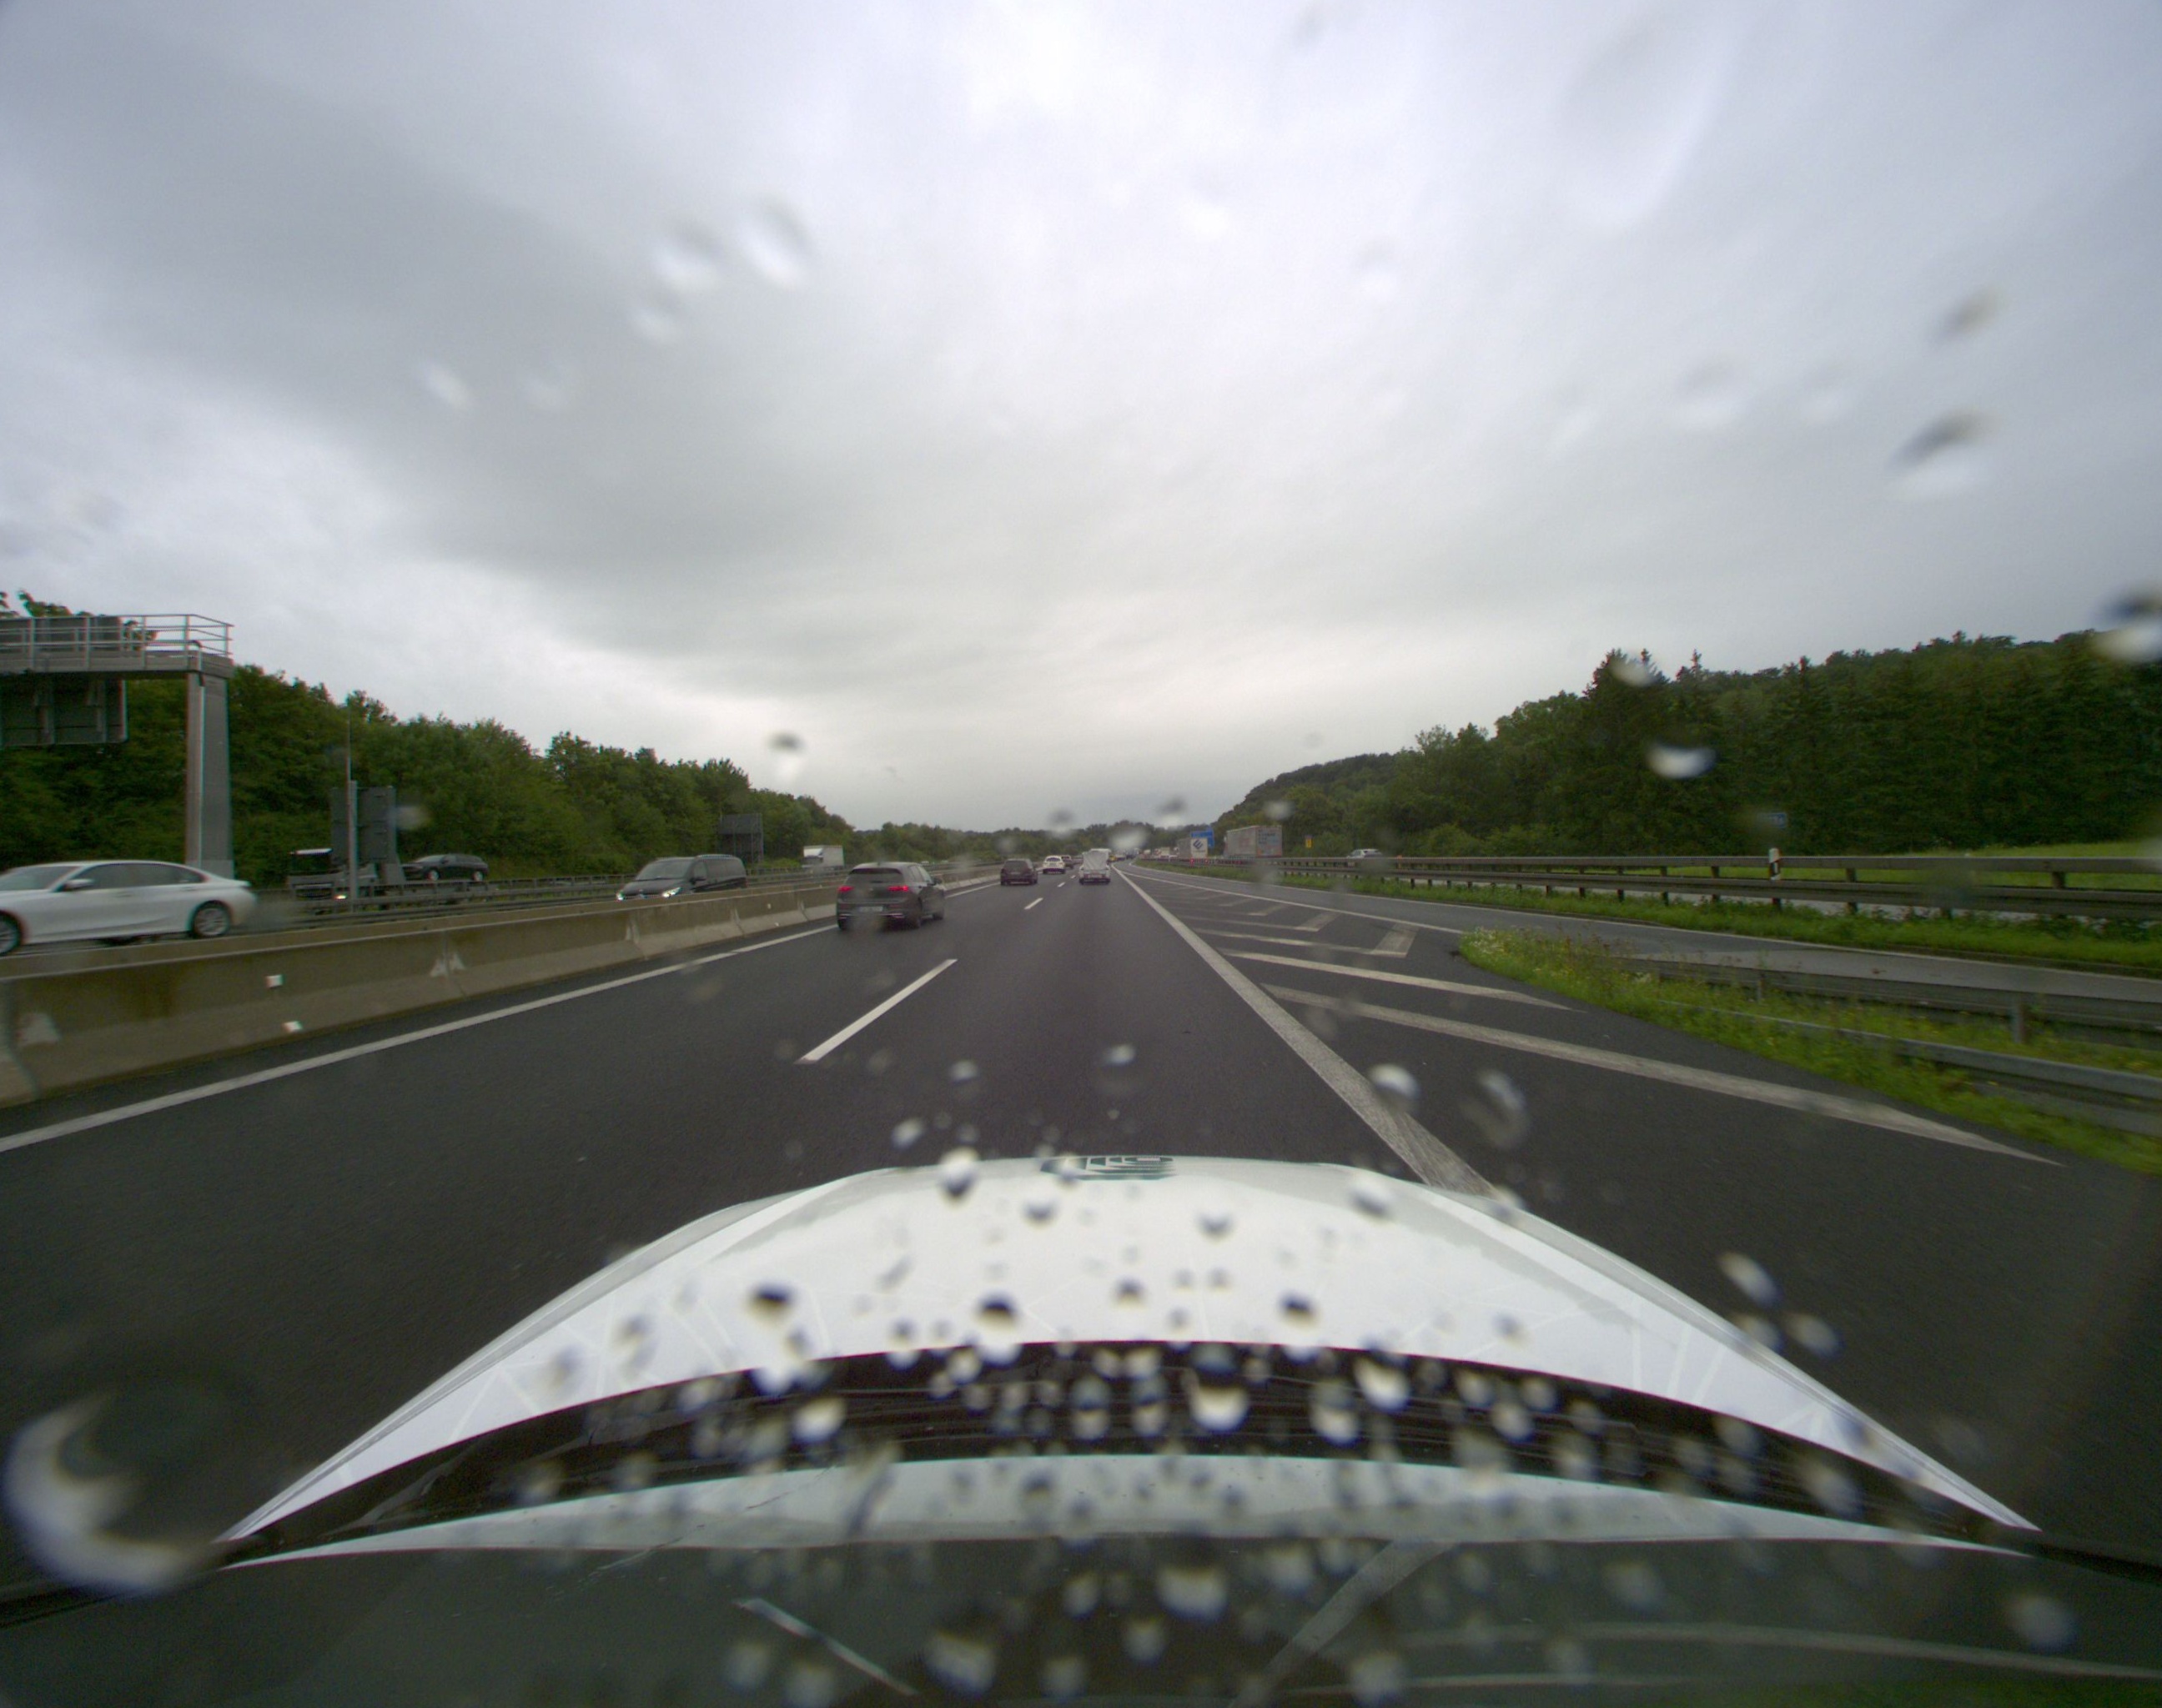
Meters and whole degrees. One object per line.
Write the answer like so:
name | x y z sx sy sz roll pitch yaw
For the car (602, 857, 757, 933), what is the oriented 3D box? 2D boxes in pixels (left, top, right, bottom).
car | -12.110 1.148 25.048 1.985 2.013 5.103 -2 0 3

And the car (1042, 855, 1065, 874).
car | -2.486 0.965 74.717 2.043 1.670 4.538 0 0 -2

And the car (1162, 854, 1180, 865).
car | 14.126 0.815 128.165 1.990 1.616 5.070 -1 0 -5

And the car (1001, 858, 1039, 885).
car | -3.396 0.945 46.007 1.782 1.459 4.801 0 0 0

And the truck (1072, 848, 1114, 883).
truck | 0.717 0.672 47.420 2.234 1.839 6.584 -1 -1 1

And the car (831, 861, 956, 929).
car | -4.317 0.889 19.472 1.823 1.425 4.369 -1 0 2

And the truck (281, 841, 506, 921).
truck | -30.850 1.107 37.251 2.503 3.145 8.852 -2 0 2

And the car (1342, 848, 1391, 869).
car | 22.012 0.356 62.966 1.815 1.504 5.028 -1 0 -2

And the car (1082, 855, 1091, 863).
car | 1.254 1.094 183.138 1.812 1.662 4.018 -1 0 2

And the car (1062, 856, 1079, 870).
car | -1.338 1.149 102.724 1.969 1.703 4.803 0 0 1

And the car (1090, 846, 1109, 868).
car | 2.402 0.387 107.144 2.324 2.725 6.537 -1 0 -1

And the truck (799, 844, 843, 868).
truck | -32.875 0.278 103.349 2.730 2.872 8.542 -2 0 1

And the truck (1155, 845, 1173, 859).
truck | 22.555 -0.448 222.546 3.816 3.659 8.264 0 0 -2

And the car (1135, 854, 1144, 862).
car | 11.731 0.880 163.642 1.639 1.574 4.001 0 0 2

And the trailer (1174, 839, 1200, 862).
trailer | 17.126 -0.522 132.034 2.930 3.527 8.414 0 0 -2

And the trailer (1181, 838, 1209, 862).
trailer | 17.217 -0.572 123.777 3.069 3.527 8.081 0 0 -1

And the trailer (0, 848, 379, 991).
trailer | -16.489 0.956 12.384 2.528 2.013 10.247 -2 0 1

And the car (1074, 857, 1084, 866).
car | -0.431 1.406 153.069 1.732 1.794 4.001 0 0 1

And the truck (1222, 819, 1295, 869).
truck | 17.944 -0.858 84.230 3.808 4.540 16.881 -1 0 0
